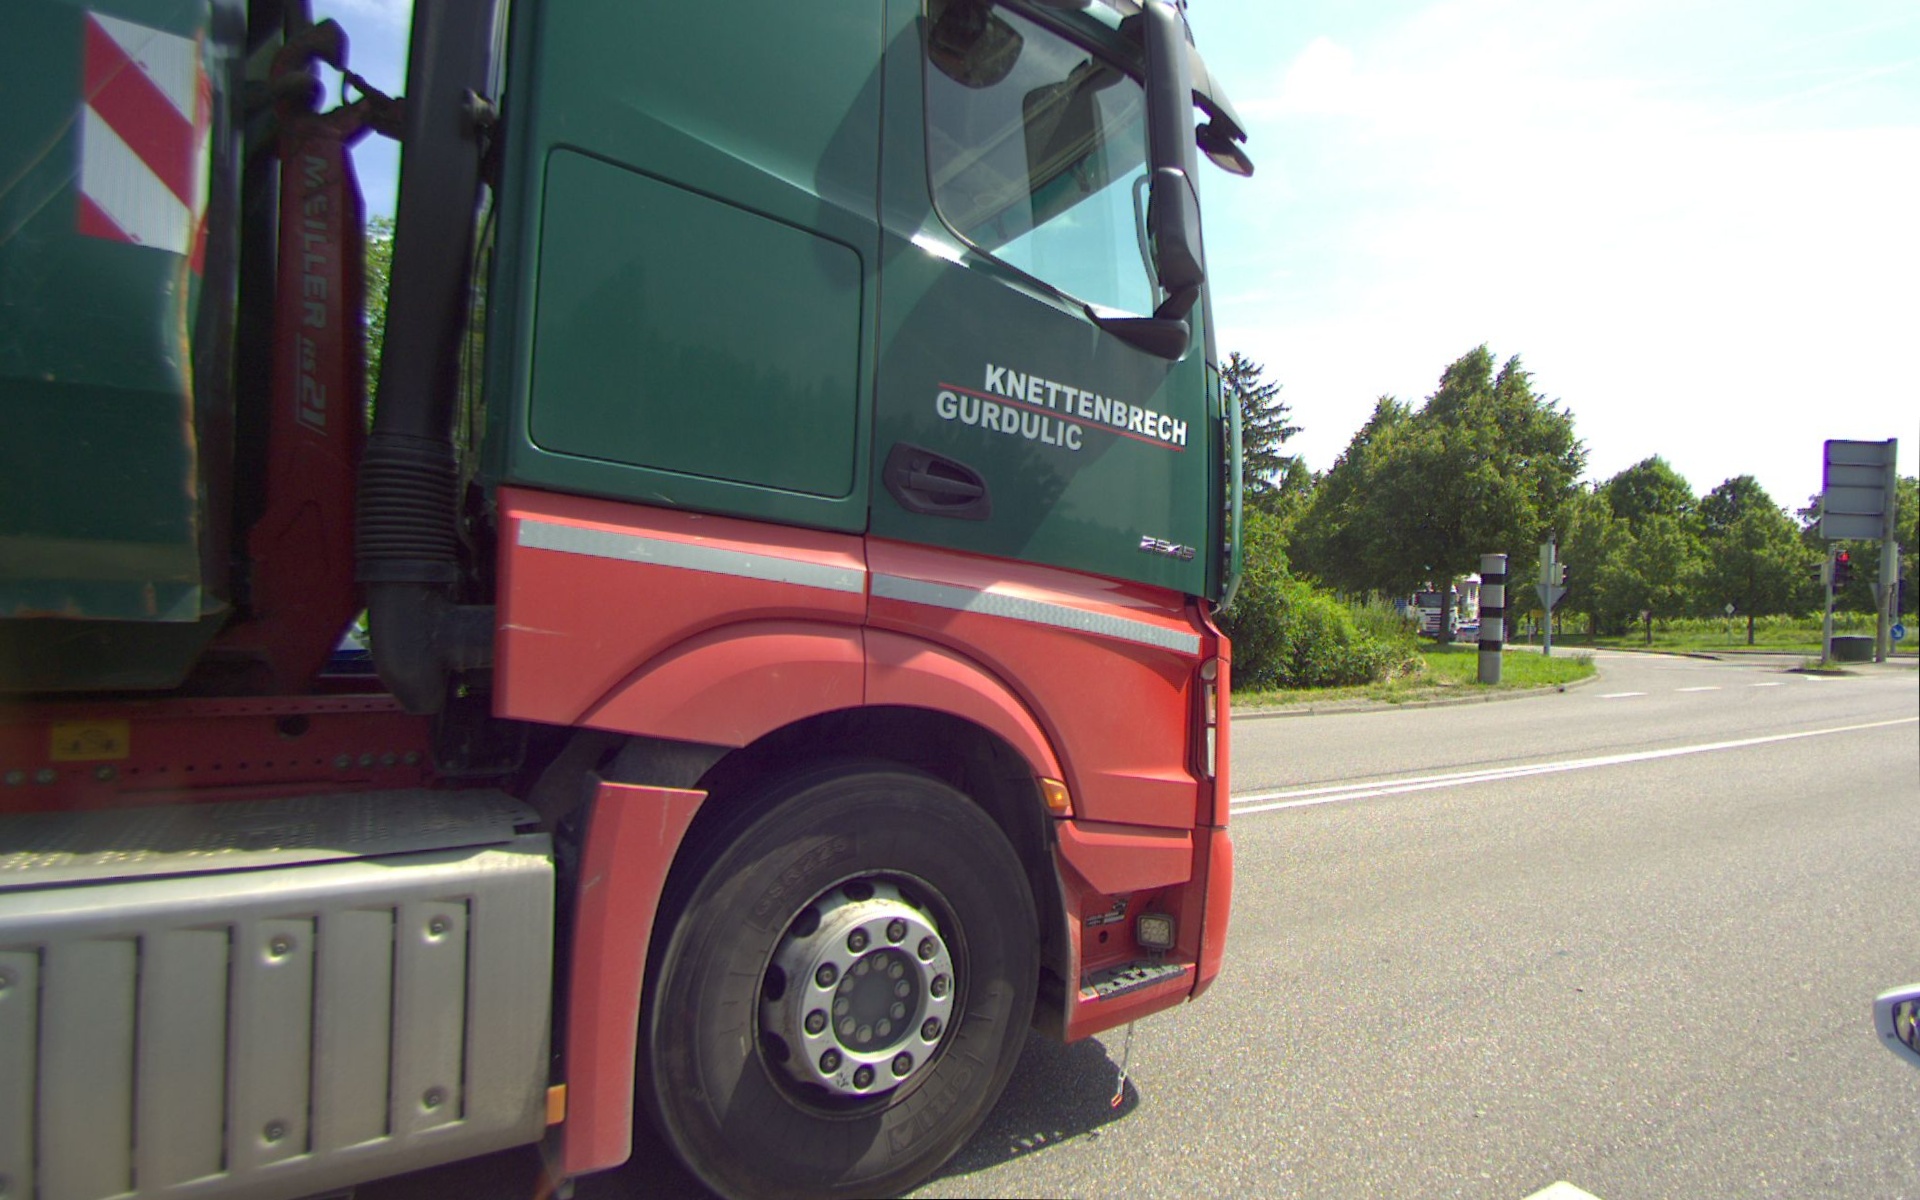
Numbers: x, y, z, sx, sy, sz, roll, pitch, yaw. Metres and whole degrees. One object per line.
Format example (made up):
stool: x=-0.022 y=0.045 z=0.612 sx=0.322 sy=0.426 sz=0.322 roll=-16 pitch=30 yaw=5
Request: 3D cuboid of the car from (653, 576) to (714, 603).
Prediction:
car: x=-20.157 y=-0.730 z=73.427 sx=1.866 sy=1.782 sz=3.988 roll=2 pitch=0 yaw=35

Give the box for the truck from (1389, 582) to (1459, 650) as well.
truck: x=28.515 y=0.989 z=62.033 sx=2.888 sy=3.848 sz=7.928 roll=2 pitch=0 yaw=18

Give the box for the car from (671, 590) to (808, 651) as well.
car: x=-7.064 y=0.633 z=32.209 sx=3.928 sy=1.751 sz=1.997 roll=2 pitch=0 yaw=29

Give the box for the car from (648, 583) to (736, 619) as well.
car: x=-13.566 y=0.057 z=51.033 sx=1.883 sy=1.662 sz=3.984 roll=2 pitch=0 yaw=38

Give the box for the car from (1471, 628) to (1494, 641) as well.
car: x=59.896 y=3.945 z=115.186 sx=1.651 sy=1.374 sz=3.844 roll=-1 pitch=-4 yaw=39

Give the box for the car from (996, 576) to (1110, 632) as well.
car: x=3.987 y=0.147 z=43.584 sx=4.524 sy=2.209 sz=1.992 roll=2 pitch=1 yaw=37

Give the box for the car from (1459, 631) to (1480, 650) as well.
car: x=43.685 y=3.460 z=86.142 sx=1.509 sy=1.511 sz=4.003 roll=2 pitch=0 yaw=28

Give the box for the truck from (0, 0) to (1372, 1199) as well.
truck: x=-3.680 y=-0.592 z=1.578 sx=9.935 sy=3.972 sz=2.654 roll=1 pitch=0 yaw=-31
